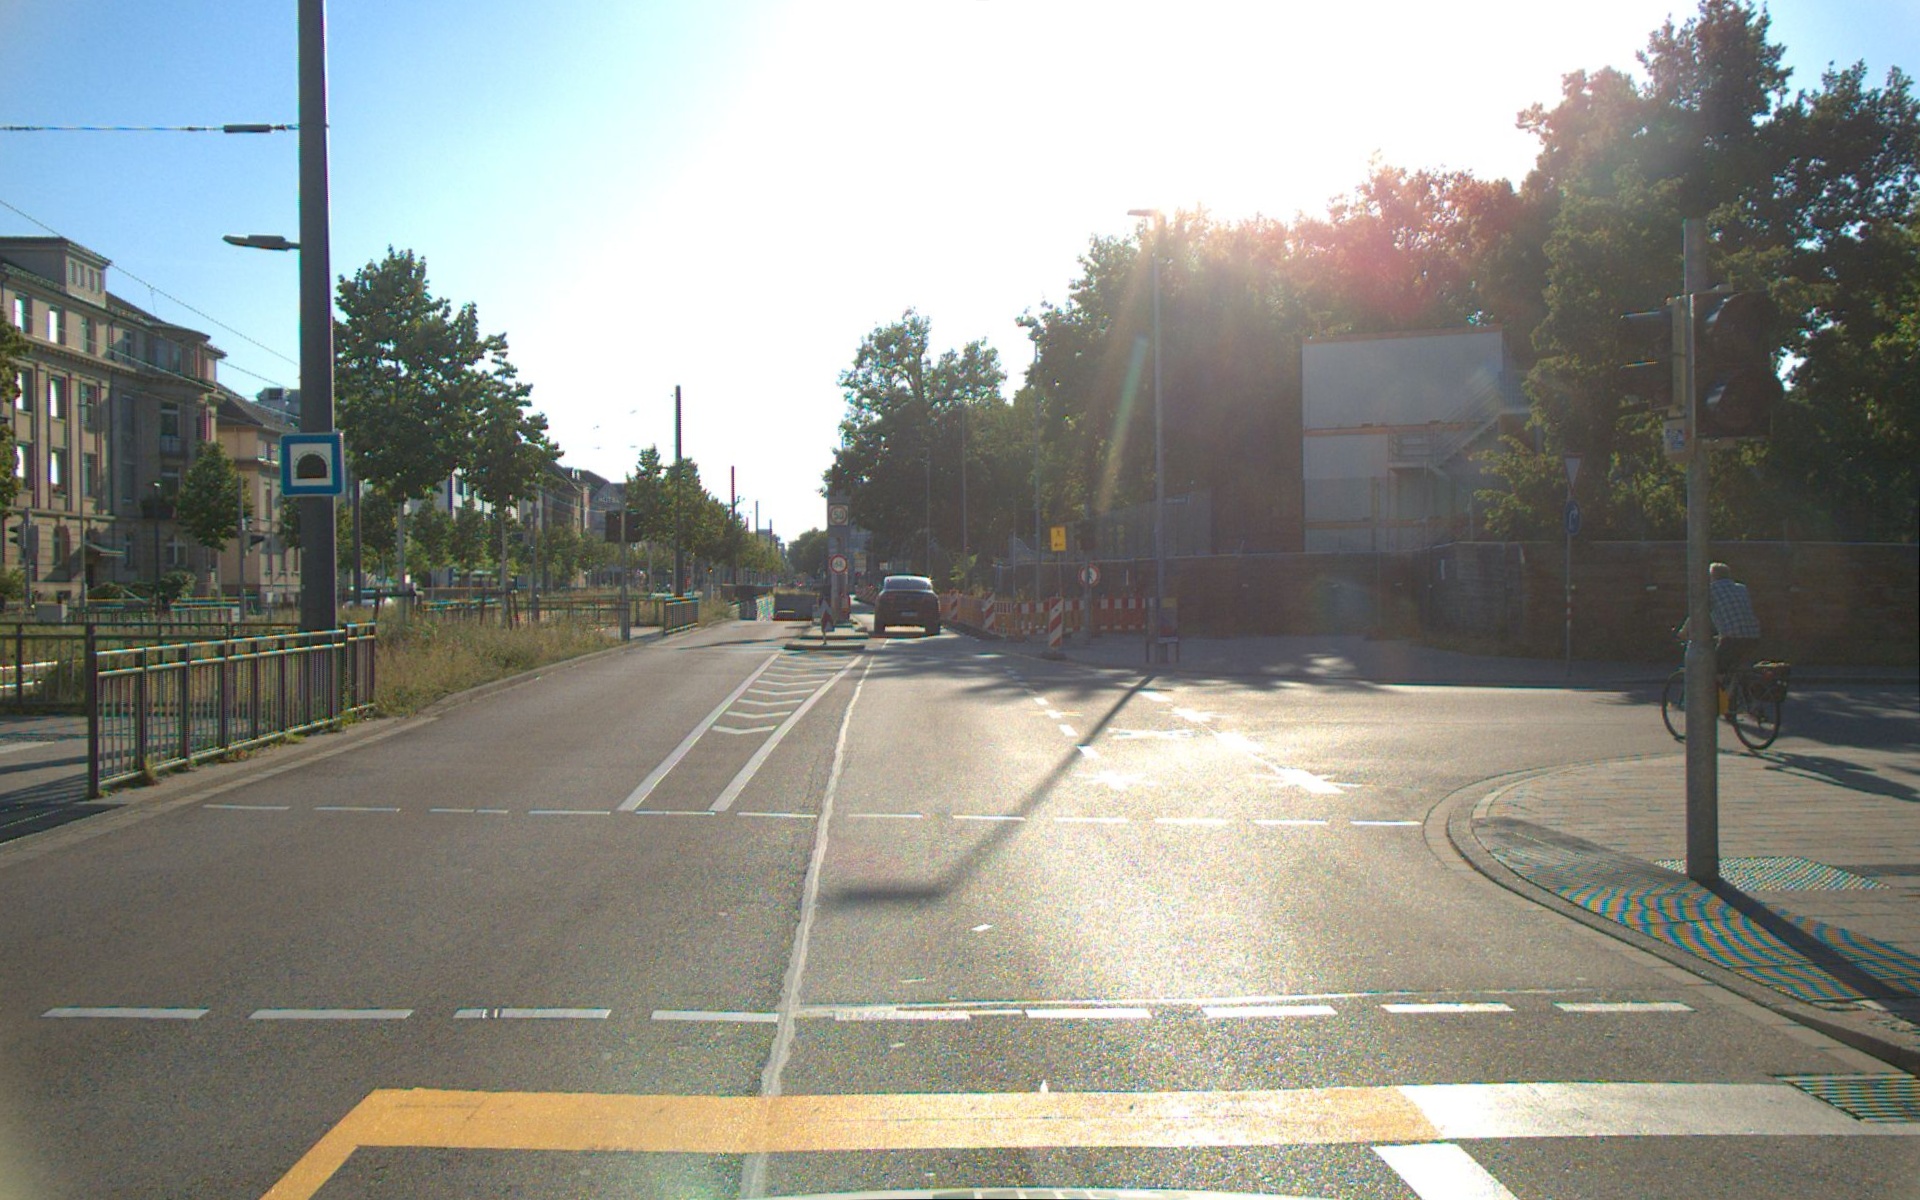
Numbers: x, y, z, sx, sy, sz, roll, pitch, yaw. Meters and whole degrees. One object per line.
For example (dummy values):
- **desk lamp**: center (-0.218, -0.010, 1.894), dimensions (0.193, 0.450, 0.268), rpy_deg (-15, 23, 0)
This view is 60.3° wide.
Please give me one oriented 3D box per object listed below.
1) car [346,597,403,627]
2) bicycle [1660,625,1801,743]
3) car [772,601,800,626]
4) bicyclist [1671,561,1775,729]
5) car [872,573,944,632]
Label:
- **car**: center (-30.726, 0.599, 86.948), dimensions (1.741, 1.489, 4.657), rpy_deg (0, 0, -5)
- **bicycle**: center (7.740, 0.817, 16.700), dimensions (0.419, 1.080, 1.910), rpy_deg (0, 0, -4)
- **car**: center (-12.141, 0.937, 115.404), dimensions (1.791, 1.688, 3.996), rpy_deg (1, 0, -5)
- **bicyclist**: center (7.683, 0.436, 16.686), dimensions (0.572, 1.643, 0.902), rpy_deg (0, 0, -5)
- **car**: center (-1.626, 0.082, 50.440), dimensions (1.966, 1.688, 3.996), rpy_deg (1, 0, -5)
